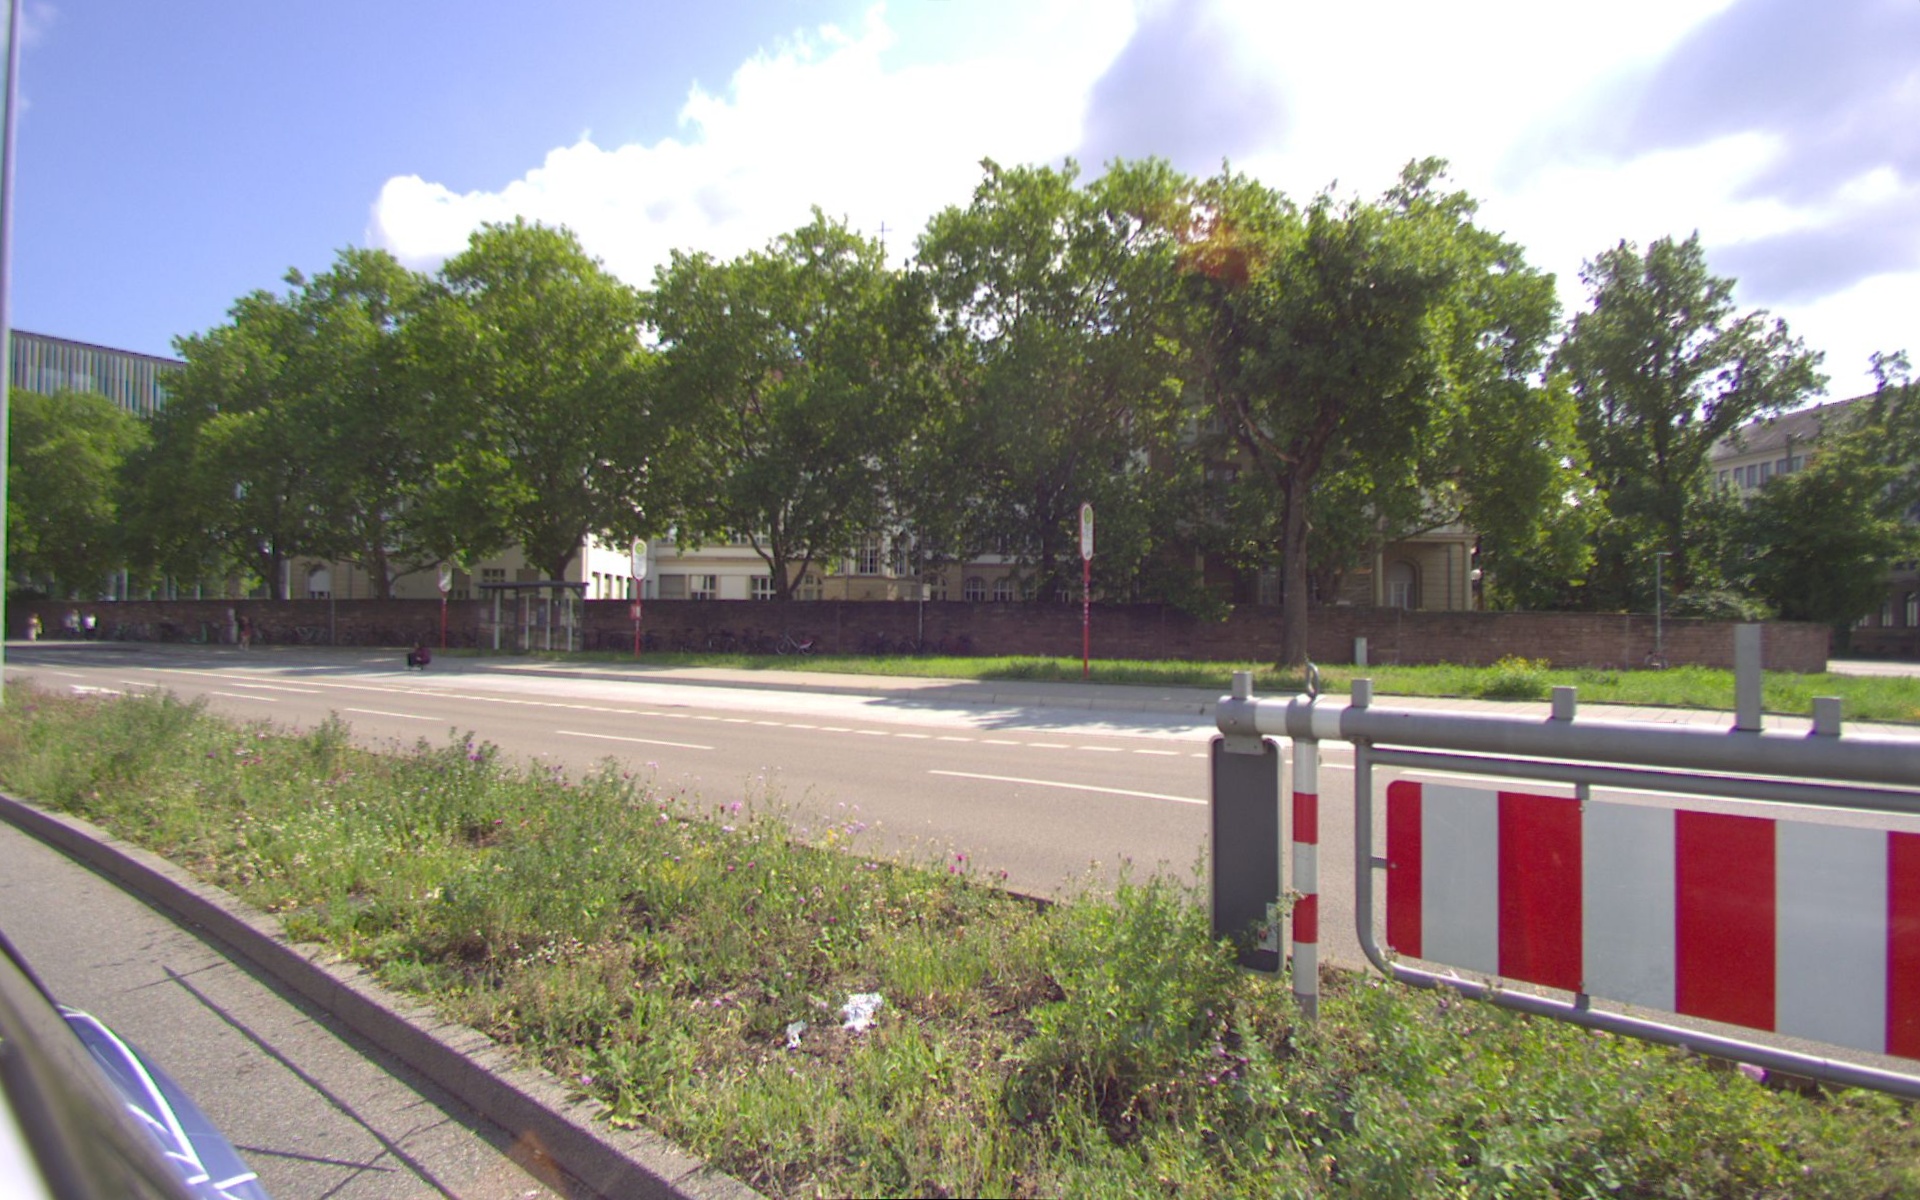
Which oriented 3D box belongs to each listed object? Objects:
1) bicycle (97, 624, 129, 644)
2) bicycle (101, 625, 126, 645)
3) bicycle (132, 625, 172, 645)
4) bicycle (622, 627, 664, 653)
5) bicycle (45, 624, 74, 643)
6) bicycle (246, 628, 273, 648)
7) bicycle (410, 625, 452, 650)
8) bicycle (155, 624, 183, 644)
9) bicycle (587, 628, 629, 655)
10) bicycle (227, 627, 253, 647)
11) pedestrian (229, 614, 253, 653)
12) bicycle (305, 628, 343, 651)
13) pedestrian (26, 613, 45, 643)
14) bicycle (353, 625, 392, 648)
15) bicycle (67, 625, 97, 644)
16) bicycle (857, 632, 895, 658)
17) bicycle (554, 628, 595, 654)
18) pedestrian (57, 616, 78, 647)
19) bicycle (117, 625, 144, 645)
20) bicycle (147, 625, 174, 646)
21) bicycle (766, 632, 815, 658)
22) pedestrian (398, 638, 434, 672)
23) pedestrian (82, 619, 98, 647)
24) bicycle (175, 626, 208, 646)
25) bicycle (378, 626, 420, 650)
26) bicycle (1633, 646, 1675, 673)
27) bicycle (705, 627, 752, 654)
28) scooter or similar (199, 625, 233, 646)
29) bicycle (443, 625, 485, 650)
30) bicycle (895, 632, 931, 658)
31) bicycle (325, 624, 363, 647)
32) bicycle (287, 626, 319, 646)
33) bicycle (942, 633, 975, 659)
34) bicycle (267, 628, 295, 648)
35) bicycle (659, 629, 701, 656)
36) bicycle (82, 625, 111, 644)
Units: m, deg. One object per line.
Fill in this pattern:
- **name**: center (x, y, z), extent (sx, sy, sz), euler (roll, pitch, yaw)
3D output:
- **bicycle**: center (-45.970, 1.850, 54.926), extent (1.871, 1.056, 0.588), euler (0, -2, 27)
- **bicycle**: center (-46.967, 1.929, 56.150), extent (1.871, 1.056, 0.368), euler (0, -2, 27)
- **bicycle**: center (-43.231, 1.860, 54.162), extent (1.861, 1.056, 0.591), euler (0, -2, 11)
- **bicycle**: center (-13.267, 1.678, 42.374), extent (1.616, 1.081, 0.581), euler (0, -2, 15)
- **bicycle**: center (-52.848, 1.965, 59.375), extent (1.871, 1.056, 0.626), euler (0, -2, 27)
- **bicycle**: center (-34.596, 1.884, 49.977), extent (1.392, 0.962, 0.365), euler (0, -2, 21)
- **bicycle**: center (-23.773, 1.680, 45.465), extent (1.739, 1.081, 0.581), euler (0, -2, 15)
- **bicycle**: center (-41.572, 1.796, 53.205), extent (1.871, 1.056, 0.391), euler (0, -2, 27)
- **bicycle**: center (-14.894, 1.749, 42.791), extent (1.616, 1.081, 0.581), euler (0, -2, 15)
- **bicycle**: center (-36.392, 1.863, 51.133), extent (1.392, 0.962, 0.365), euler (0, -2, 21)
- **pedestrian**: center (-30.628, 1.406, 43.096), extent (0.743, 1.622, 0.650), euler (-1, -1, 37)
- **bicycle**: center (-30.220, 1.876, 48.082), extent (1.743, 1.081, 0.580), euler (0, -2, 21)
- **pedestrian**: center (-52.242, 1.588, 57.192), extent (0.724, 1.664, 0.556), euler (-1, -2, 30)
- **bicycle**: center (-27.201, 1.687, 46.848), extent (1.742, 1.081, 0.580), euler (0, -2, 19)
- **bicycle**: center (-50.571, 1.980, 58.281), extent (1.871, 1.056, 0.626), euler (0, -2, 27)
- **bicycle**: center (-3.336, 1.786, 40.295), extent (1.443, 1.019, 0.470), euler (0, -2, 16)
- **bicycle**: center (-16.481, 1.737, 43.249), extent (1.616, 1.081, 0.581), euler (0, -2, 15)
- **pedestrian**: center (-48.615, 1.696, 55.122), extent (0.728, 1.664, 0.636), euler (-1, -2, 30)
- **bicycle**: center (-45.201, 1.892, 55.149), extent (1.871, 1.056, 0.368), euler (0, -2, 27)
- **bicycle**: center (-41.744, 1.854, 52.837), extent (1.871, 1.056, 0.370), euler (0, -2, 27)
- **bicycle**: center (-6.865, 1.818, 40.993), extent (1.946, 1.019, 0.470), euler (0, -2, 16)
- **pedestrian**: center (-16.461, 1.659, 30.635), extent (0.741, 0.970, 0.688), euler (-1, -1, 35)
- **pedestrian**: center (-48.452, 1.851, 56.353), extent (0.614, 1.551, 0.472), euler (-1, -2, 30)
- **bicycle**: center (-39.835, 1.864, 52.473), extent (1.871, 1.056, 0.577), euler (0, -2, 27)
- **bicycle**: center (-25.543, 1.732, 46.094), extent (1.739, 1.081, 0.581), euler (0, -2, 15)
- **bicycle**: center (26.477, 2.260, 38.611), extent (1.497, 0.999, 0.395), euler (1, -2, -12)
- **bicycle**: center (-9.499, 1.663, 41.561), extent (1.855, 1.081, 0.580), euler (0, -2, 19)
- **scooter or similar**: center (-38.034, 1.829, 51.724), extent (1.871, 1.056, 0.577), euler (0, -2, 27)
- **bicycle**: center (-22.013, 1.643, 44.926), extent (1.739, 1.081, 0.581), euler (0, -2, 15)
- **bicycle**: center (-1.855, 1.769, 39.987), extent (1.357, 1.019, 0.390), euler (0, -2, 16)
- **bicycle**: center (-28.897, 1.670, 47.472), extent (1.743, 1.081, 0.580), euler (0, -2, 21)
- **bicycle**: center (-31.685, 1.725, 48.801), extent (1.615, 0.962, 0.368), euler (0, -2, 21)
- **bicycle**: center (-0.049, 1.813, 39.738), extent (1.243, 1.019, 0.351), euler (0, -2, 16)
- **bicycle**: center (-33.195, 1.845, 49.486), extent (1.392, 0.962, 0.365), euler (0, -2, 21)
- **bicycle**: center (-11.607, 1.749, 41.984), extent (1.616, 1.081, 0.581), euler (0, -2, 15)
- **bicycle**: center (-48.836, 1.957, 57.212), extent (1.871, 1.056, 0.561), euler (0, -2, 27)
